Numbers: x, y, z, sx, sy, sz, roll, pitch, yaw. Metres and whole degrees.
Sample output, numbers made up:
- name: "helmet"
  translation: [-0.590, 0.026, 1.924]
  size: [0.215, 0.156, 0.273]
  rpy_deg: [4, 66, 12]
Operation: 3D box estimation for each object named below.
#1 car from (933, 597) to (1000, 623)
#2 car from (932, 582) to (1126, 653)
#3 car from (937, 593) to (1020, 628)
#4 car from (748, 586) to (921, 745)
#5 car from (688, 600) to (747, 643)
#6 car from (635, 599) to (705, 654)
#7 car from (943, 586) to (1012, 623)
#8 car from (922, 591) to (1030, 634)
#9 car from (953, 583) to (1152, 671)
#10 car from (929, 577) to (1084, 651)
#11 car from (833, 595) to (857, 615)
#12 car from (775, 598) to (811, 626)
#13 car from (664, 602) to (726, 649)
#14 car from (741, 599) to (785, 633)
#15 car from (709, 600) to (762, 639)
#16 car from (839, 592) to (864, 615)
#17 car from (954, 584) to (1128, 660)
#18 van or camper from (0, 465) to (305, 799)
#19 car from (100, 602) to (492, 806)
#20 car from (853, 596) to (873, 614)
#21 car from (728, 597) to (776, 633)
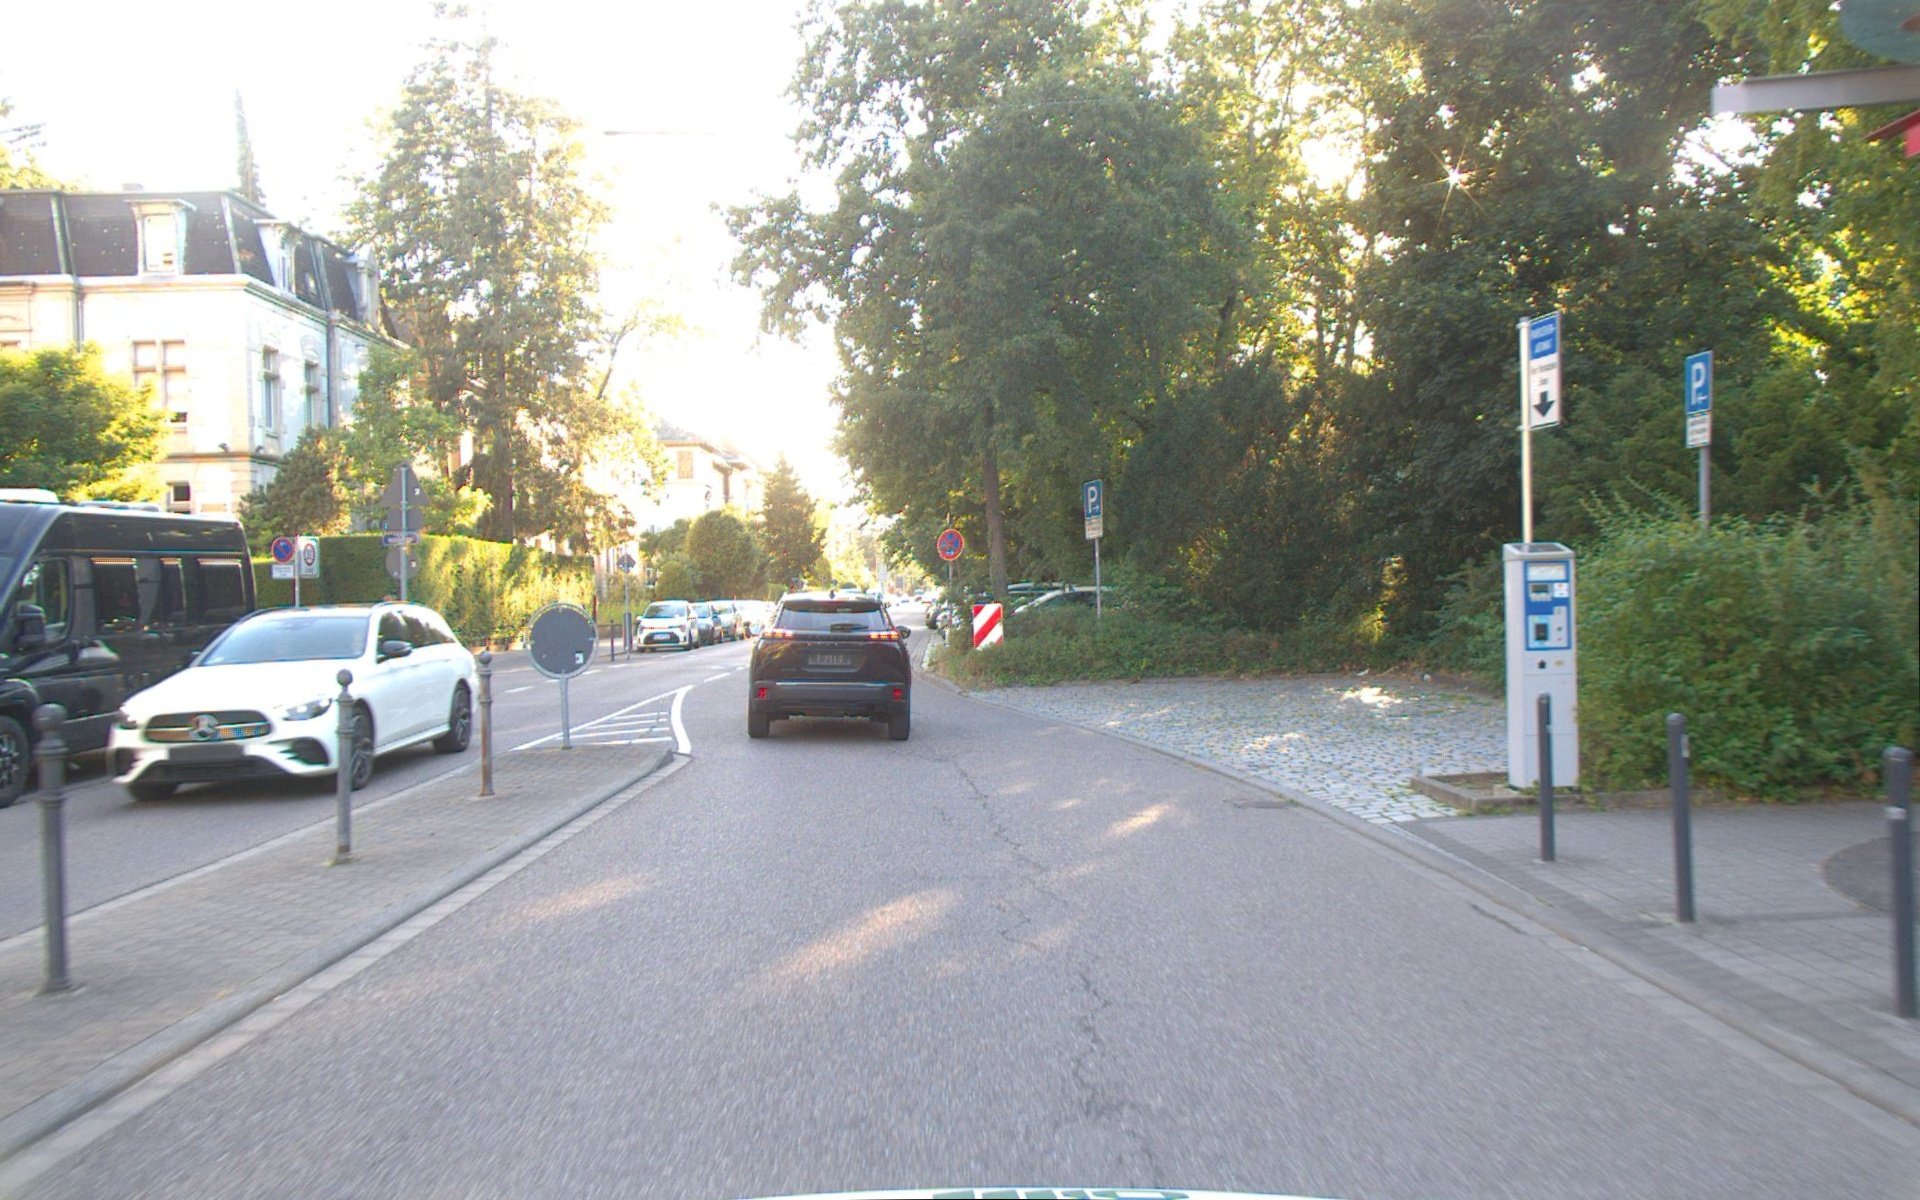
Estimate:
- name: "car"
  translation: [0.395, 0.608, 101.332]
  size: [3.910, 1.552, 1.756]
  rpy_deg: [-1, 0, -6]
- name: "car"
  translation: [1.698, 0.404, 40.889]
  size: [4.414, 1.581, 1.848]
  rpy_deg: [-2, 1, -18]
- name: "car"
  translation: [0.860, 0.501, 79.004]
  size: [3.734, 1.474, 1.824]
  rpy_deg: [-3, 0, -5]
- name: "car"
  translation: [-1.523, 0.660, 18.964]
  size: [1.738, 1.596, 4.102]
  rpy_deg: [1, 0, -7]
- name: "car"
  translation: [-8.977, 0.789, 61.549]
  size: [1.581, 1.492, 4.035]
  rpy_deg: [-2, 0, 0]
- name: "car"
  translation: [-8.940, 0.795, 51.177]
  size: [1.581, 1.541, 3.710]
  rpy_deg: [-3, 0, -3]
- name: "car"
  translation: [1.032, 0.255, 98.578]
  size: [3.910, 2.126, 1.756]
  rpy_deg: [-1, 0, -6]
- name: "car"
  translation: [0.619, 0.496, 66.751]
  size: [4.158, 1.474, 2.020]
  rpy_deg: [-3, 0, -3]
- name: "car"
  translation: [1.832, 0.527, 33.635]
  size: [3.906, 1.581, 1.725]
  rpy_deg: [-2, 1, -1]
- name: "car"
  translation: [1.277, 0.379, 46.825]
  size: [4.220, 1.836, 2.035]
  rpy_deg: [-3, 0, -2]
- name: "car"
  translation: [-9.680, 0.406, 139.341]
  size: [1.861, 1.601, 3.999]
  rpy_deg: [-1, 0, -1]
- name: "car"
  translation: [-9.457, 0.645, 93.799]
  size: [1.717, 1.438, 3.762]
  rpy_deg: [-3, 0, -2]
- name: "car"
  translation: [-9.090, 0.846, 56.929]
  size: [1.581, 1.511, 3.741]
  rpy_deg: [-2, 0, -1]
- name: "car"
  translation: [-9.204, 0.720, 77.514]
  size: [1.581, 1.492, 4.035]
  rpy_deg: [-2, 0, 0]
- name: "car"
  translation: [-9.119, 0.784, 67.321]
  size: [1.581, 1.492, 4.035]
  rpy_deg: [-2, 0, 0]
- name: "car"
  translation: [-9.843, 0.286, 149.756]
  size: [1.953, 2.049, 4.000]
  rpy_deg: [-1, 0, 0]
- name: "car"
  translation: [1.854, 0.494, 38.736]
  size: [3.906, 1.581, 1.752]
  rpy_deg: [-2, 1, -1]
- name: "van or camper"
  translation: [-8.586, 0.255, 15.526]
  size: [2.184, 2.589, 7.078]
  rpy_deg: [0, 0, -1]
- name: "car"
  translation: [-5.697, 0.795, 14.886]
  size: [1.706, 1.483, 4.622]
  rpy_deg: [-2, 0, -1]
- name: "car"
  translation: [-10.388, 0.493, 177.397]
  size: [1.953, 1.847, 3.999]
  rpy_deg: [-1, 0, -1]
- name: "car"
  translation: [-9.145, 0.634, 72.819]
  size: [1.581, 1.492, 4.035]
  rpy_deg: [-2, 0, 0]
